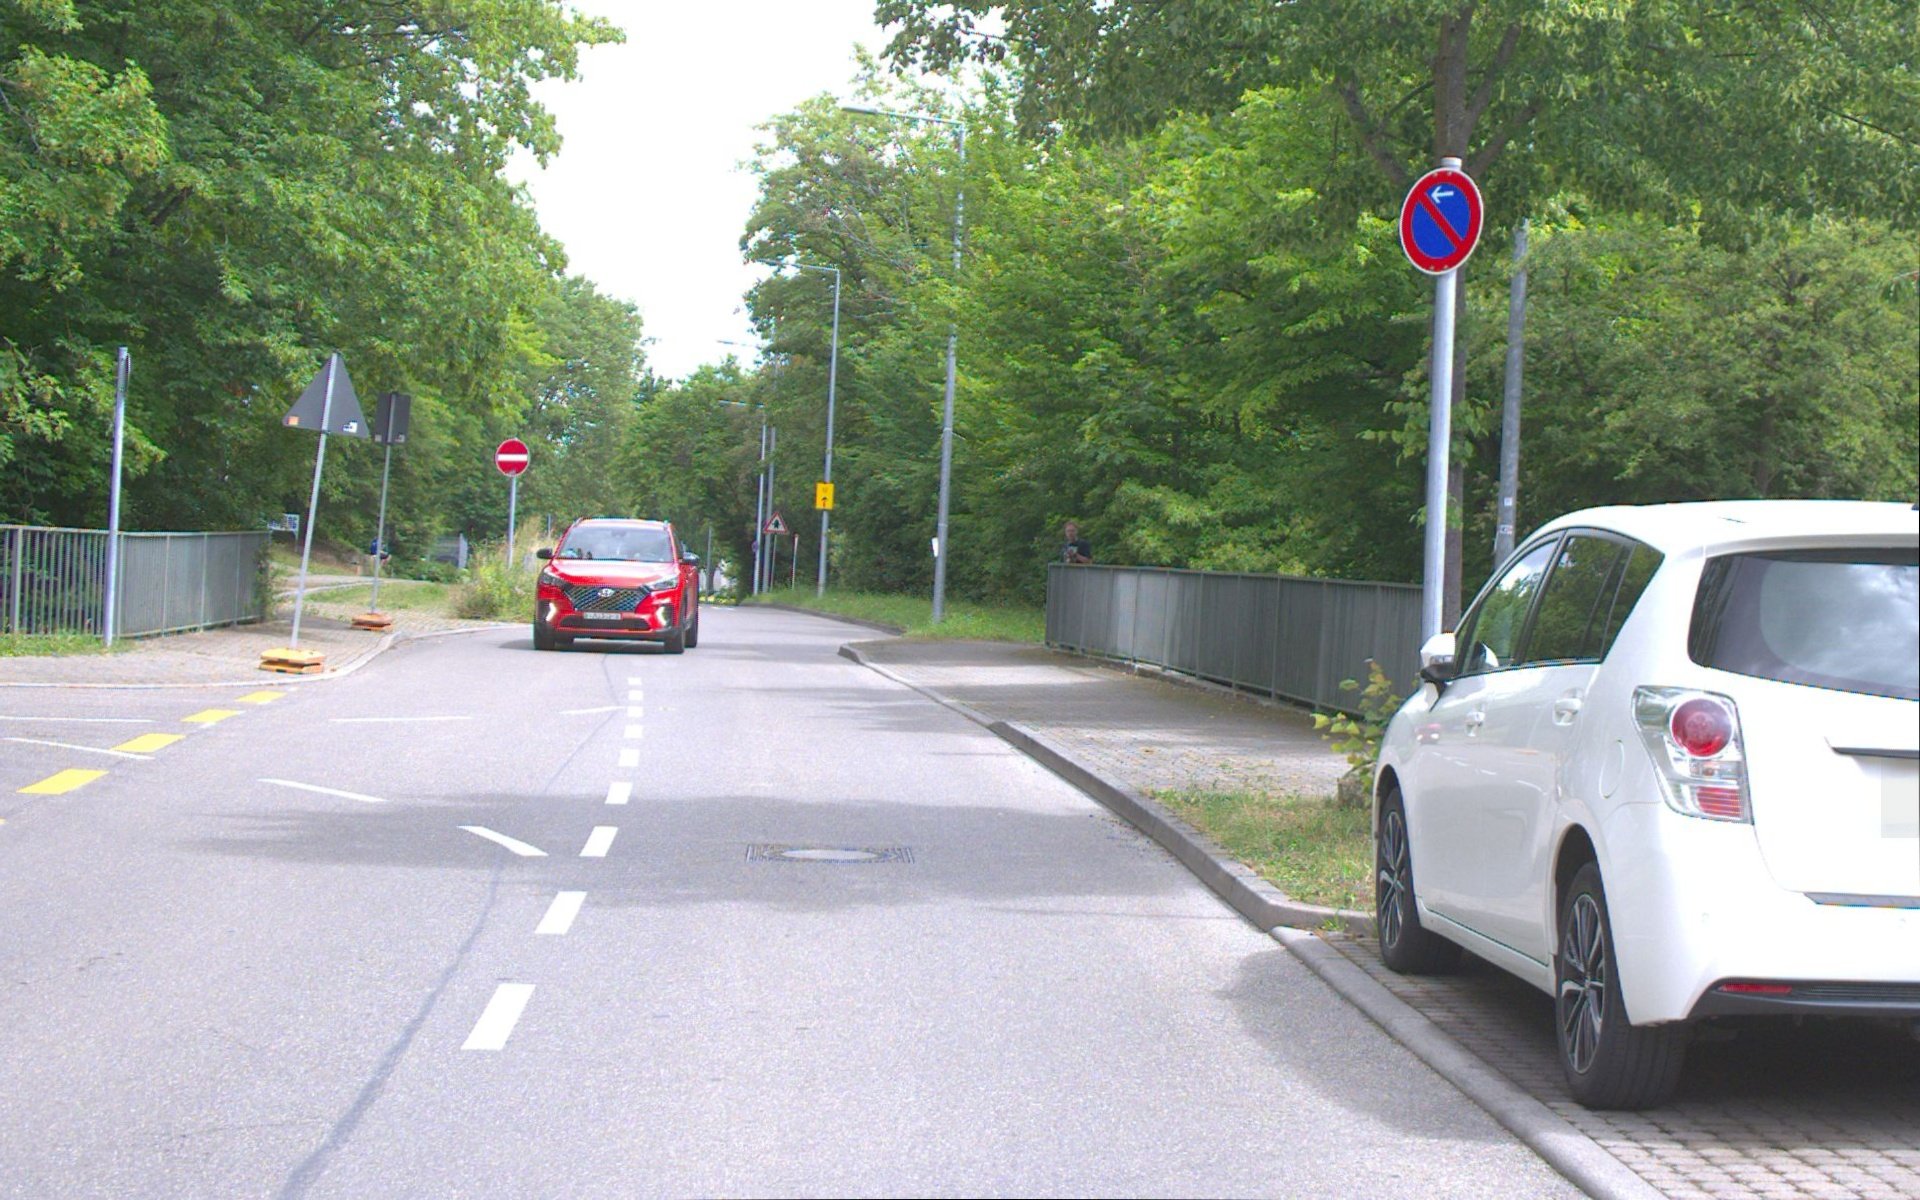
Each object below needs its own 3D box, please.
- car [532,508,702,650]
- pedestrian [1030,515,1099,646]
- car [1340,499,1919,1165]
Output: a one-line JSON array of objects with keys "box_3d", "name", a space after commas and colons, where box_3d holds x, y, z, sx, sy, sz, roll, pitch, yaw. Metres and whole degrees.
[{"box_3d": [-4.313, -0.302, 43.765, 1.843, 1.653, 4.222, 2, 1, -2], "name": "car"}, {"box_3d": [1.438, -0.269, 47.386, 0.587, 1.777, 0.682, 3, -1, -36], "name": "pedestrian"}, {"box_3d": [2.428, 0.524, 10.473, 1.804, 1.594, 4.372, 1, 1, -3], "name": "car"}]
